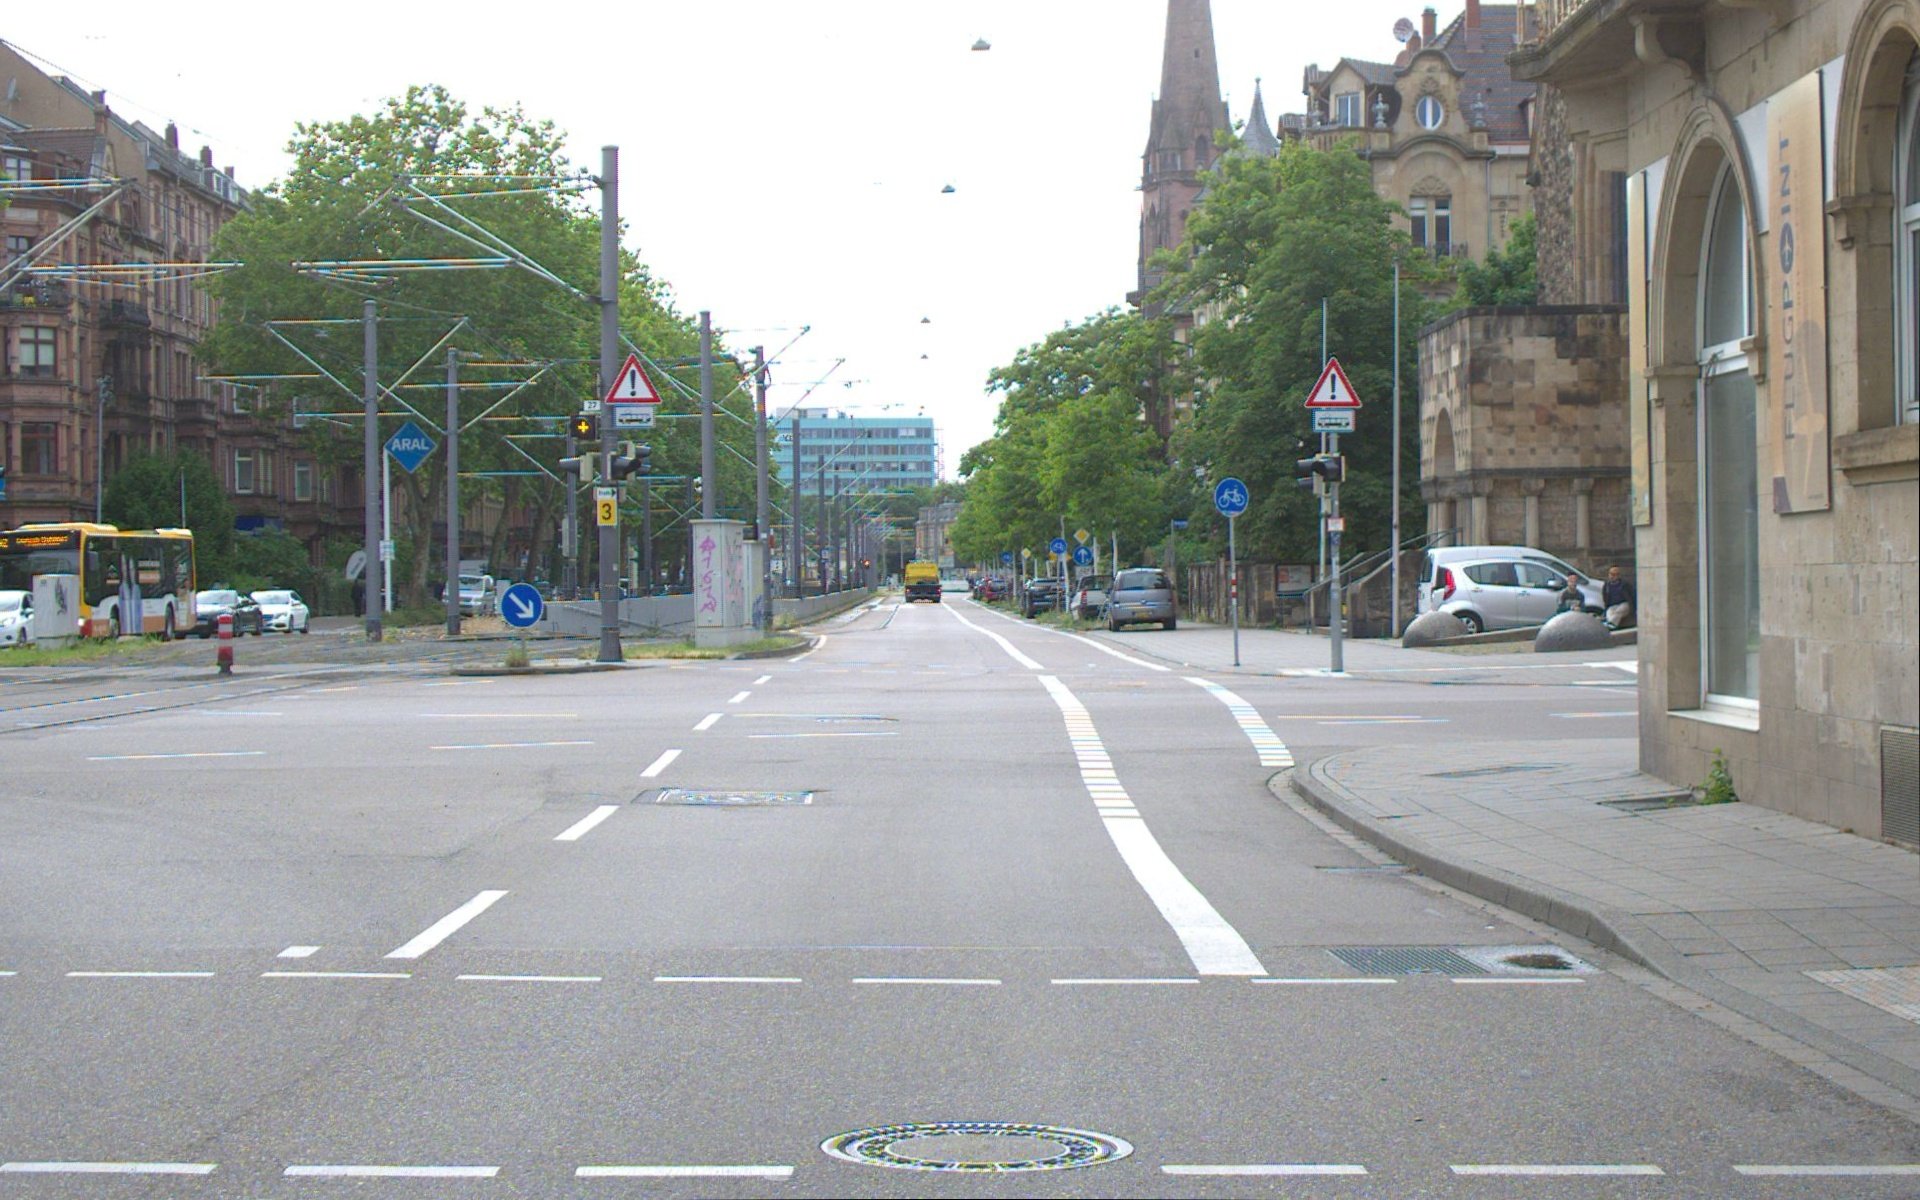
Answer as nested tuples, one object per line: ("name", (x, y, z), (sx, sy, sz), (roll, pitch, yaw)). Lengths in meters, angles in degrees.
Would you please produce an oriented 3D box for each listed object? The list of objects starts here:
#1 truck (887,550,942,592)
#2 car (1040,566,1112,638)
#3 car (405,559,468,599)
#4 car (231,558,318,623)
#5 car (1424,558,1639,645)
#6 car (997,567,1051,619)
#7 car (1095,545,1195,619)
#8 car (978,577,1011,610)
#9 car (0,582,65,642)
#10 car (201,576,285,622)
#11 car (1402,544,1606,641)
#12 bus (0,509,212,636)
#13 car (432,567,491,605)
("truck", (-3.031, -2.009, 232.602), (3.055, 2.760, 9.815), (0, 1, 3))
("car", (3.339, 0.032, 99.626), (1.993, 2.007, 4.000), (1, 1, 1))
("car", (-21.544, -0.872, 141.518), (1.993, 1.605, 4.000), (1, 1, -1))
("car", (-21.843, -0.314, 109.600), (1.993, 2.007, 4.000), (1, 1, -1))
("car", (10.761, 0.015, 64.924), (3.713, 1.558, 2.000), (1, 0, 0))
("car", (2.529, -0.277, 136.190), (1.993, 2.007, 4.000), (1, 1, -1))
("car", (4.864, -0.473, 89.984), (1.994, 1.849, 4.024), (1, 1, 12))
("car", (2.184, -0.401, 216.836), (1.993, 2.007, 4.000), (1, 1, -1))
("car", (-21.914, 0.265, 79.043), (1.656, 1.316, 3.638), (1, 1, 1))
("car", (-21.308, -0.043, 102.240), (1.656, 1.316, 3.638), (1, 1, 1))
("car", (10.790, -0.163, 68.404), (3.713, 1.849, 2.000), (1, 0, 0))
("bus", (-22.482, -0.724, 89.092), (3.231, 3.025, 12.311), (1, 1, 1))
("car", (-21.636, -0.632, 149.335), (1.993, 1.605, 4.000), (1, 1, -1))
